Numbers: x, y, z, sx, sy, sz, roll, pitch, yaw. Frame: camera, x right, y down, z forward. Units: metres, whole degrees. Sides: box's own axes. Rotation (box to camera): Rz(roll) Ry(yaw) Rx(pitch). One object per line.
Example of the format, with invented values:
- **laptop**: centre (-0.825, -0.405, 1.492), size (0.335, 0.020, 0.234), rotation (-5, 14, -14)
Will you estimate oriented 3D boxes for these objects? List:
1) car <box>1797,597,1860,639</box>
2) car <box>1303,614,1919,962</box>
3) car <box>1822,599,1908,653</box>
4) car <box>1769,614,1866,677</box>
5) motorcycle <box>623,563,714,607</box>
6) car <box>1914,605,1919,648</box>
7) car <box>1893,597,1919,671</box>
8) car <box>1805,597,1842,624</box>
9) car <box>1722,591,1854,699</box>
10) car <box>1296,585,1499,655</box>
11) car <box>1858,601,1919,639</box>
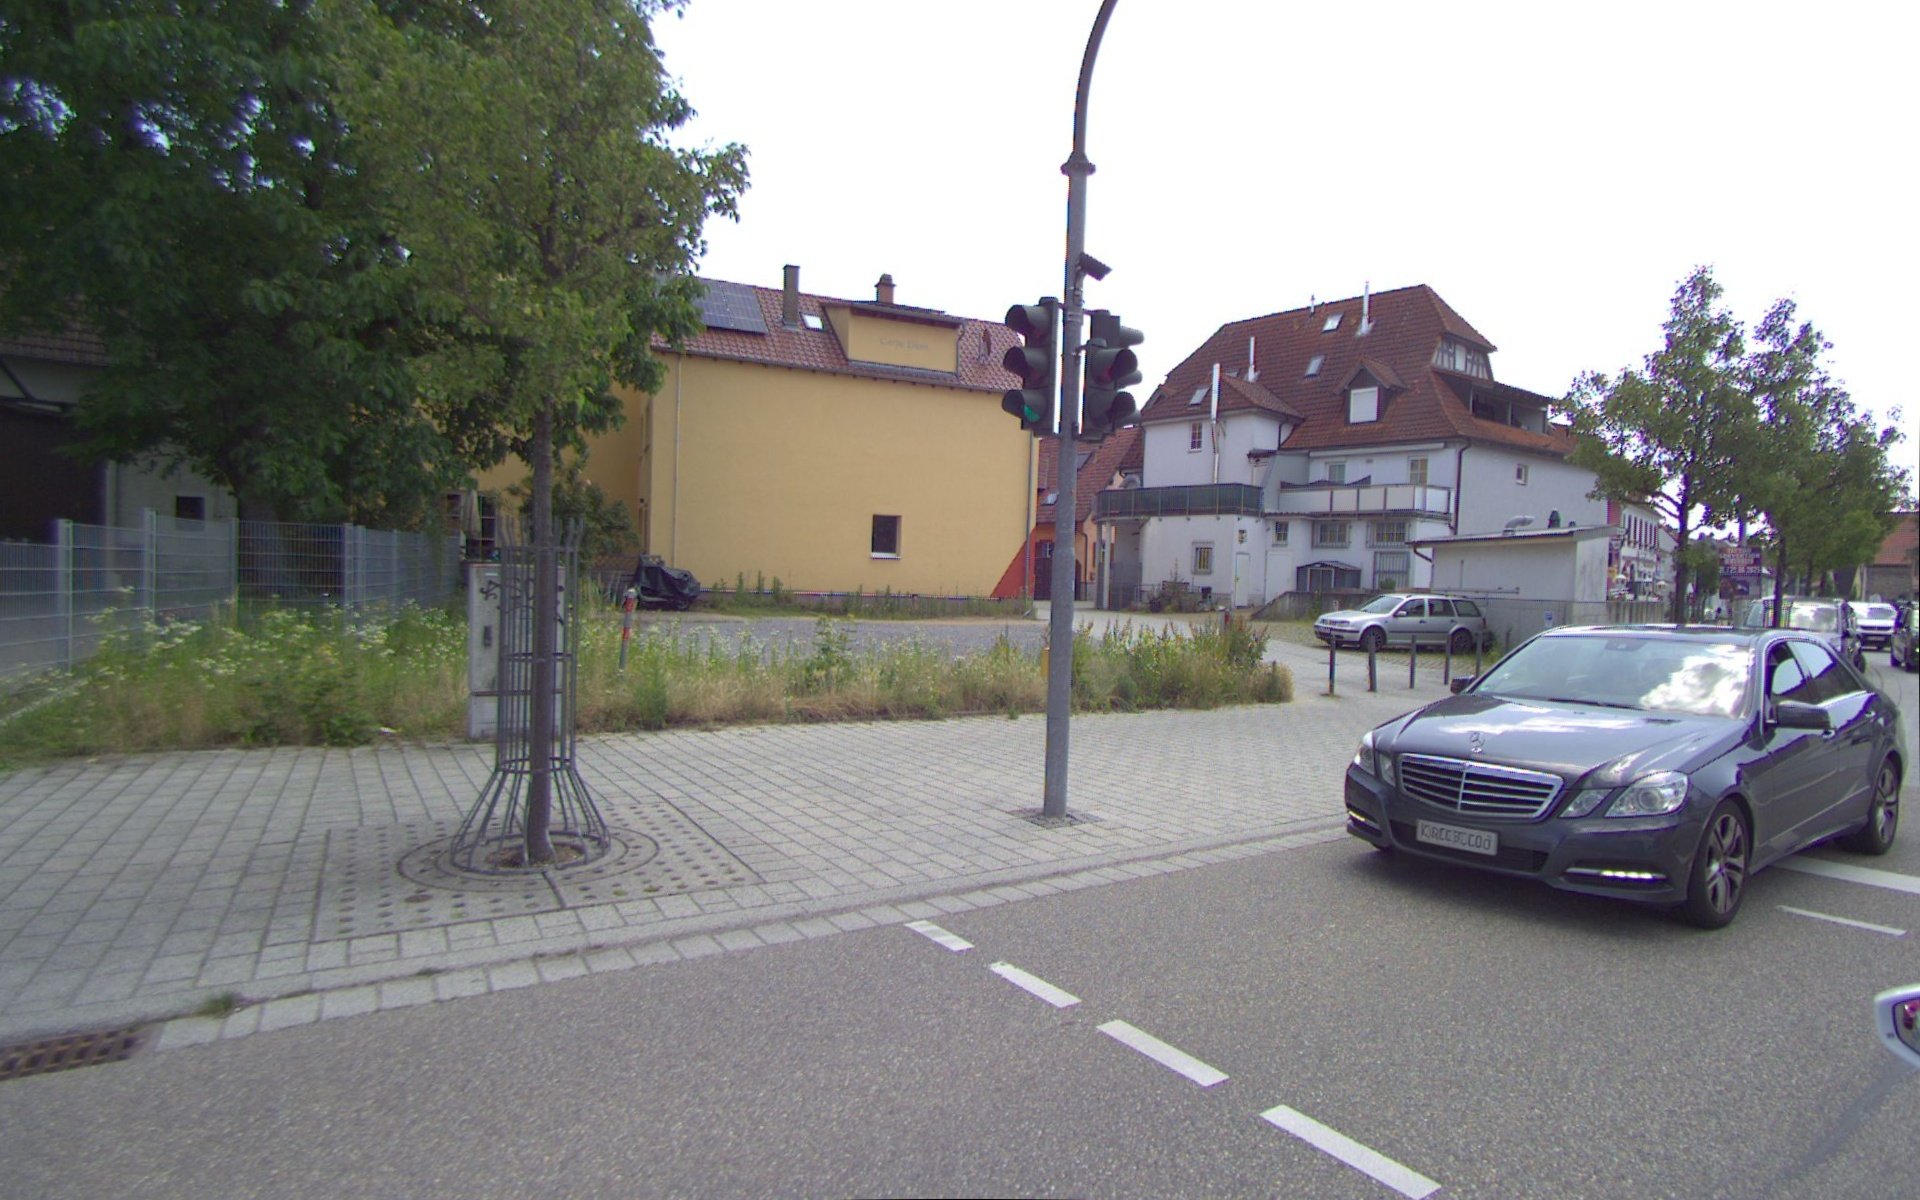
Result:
- **car**: centre (45.679, 0.915, 52.915), size (1.967, 2.041, 4.724), rotation (2, 1, 35)
- **car**: centre (4.356, 0.843, 6.418), size (4.552, 1.454, 1.871), rotation (1, 0, -37)
- **car**: centre (37.038, 1.013, 41.242), size (1.967, 2.041, 4.724), rotation (2, 1, 35)
- **car**: centre (23.031, 1.155, 26.968), size (1.795, 1.442, 4.513), rotation (3, 2, 42)
- **motorcycle**: centre (-7.305, -0.366, 25.180), size (2.044, 1.034, 0.777), rotation (1, 2, -33)
- **car**: centre (42.279, 1.216, 42.777), size (1.746, 1.913, 4.429), rotation (6, 3, 37)
- **car**: centre (28.664, 0.979, 29.265), size (1.973, 2.041, 4.709), rotation (2, 1, 45)
- **car**: centre (63.064, 0.779, 73.400), size (1.616, 1.873, 3.595), rotation (2, 0, 34)
- **car**: centre (18.173, 0.884, 21.971), size (1.964, 2.017, 5.017), rotation (3, 2, 41)
- **car**: centre (11.107, 0.502, 25.607), size (4.360, 1.516, 1.994), rotation (2, 3, -13)
- **car**: centre (48.842, 1.045, 52.864), size (1.968, 1.873, 3.984), rotation (2, 0, 37)
